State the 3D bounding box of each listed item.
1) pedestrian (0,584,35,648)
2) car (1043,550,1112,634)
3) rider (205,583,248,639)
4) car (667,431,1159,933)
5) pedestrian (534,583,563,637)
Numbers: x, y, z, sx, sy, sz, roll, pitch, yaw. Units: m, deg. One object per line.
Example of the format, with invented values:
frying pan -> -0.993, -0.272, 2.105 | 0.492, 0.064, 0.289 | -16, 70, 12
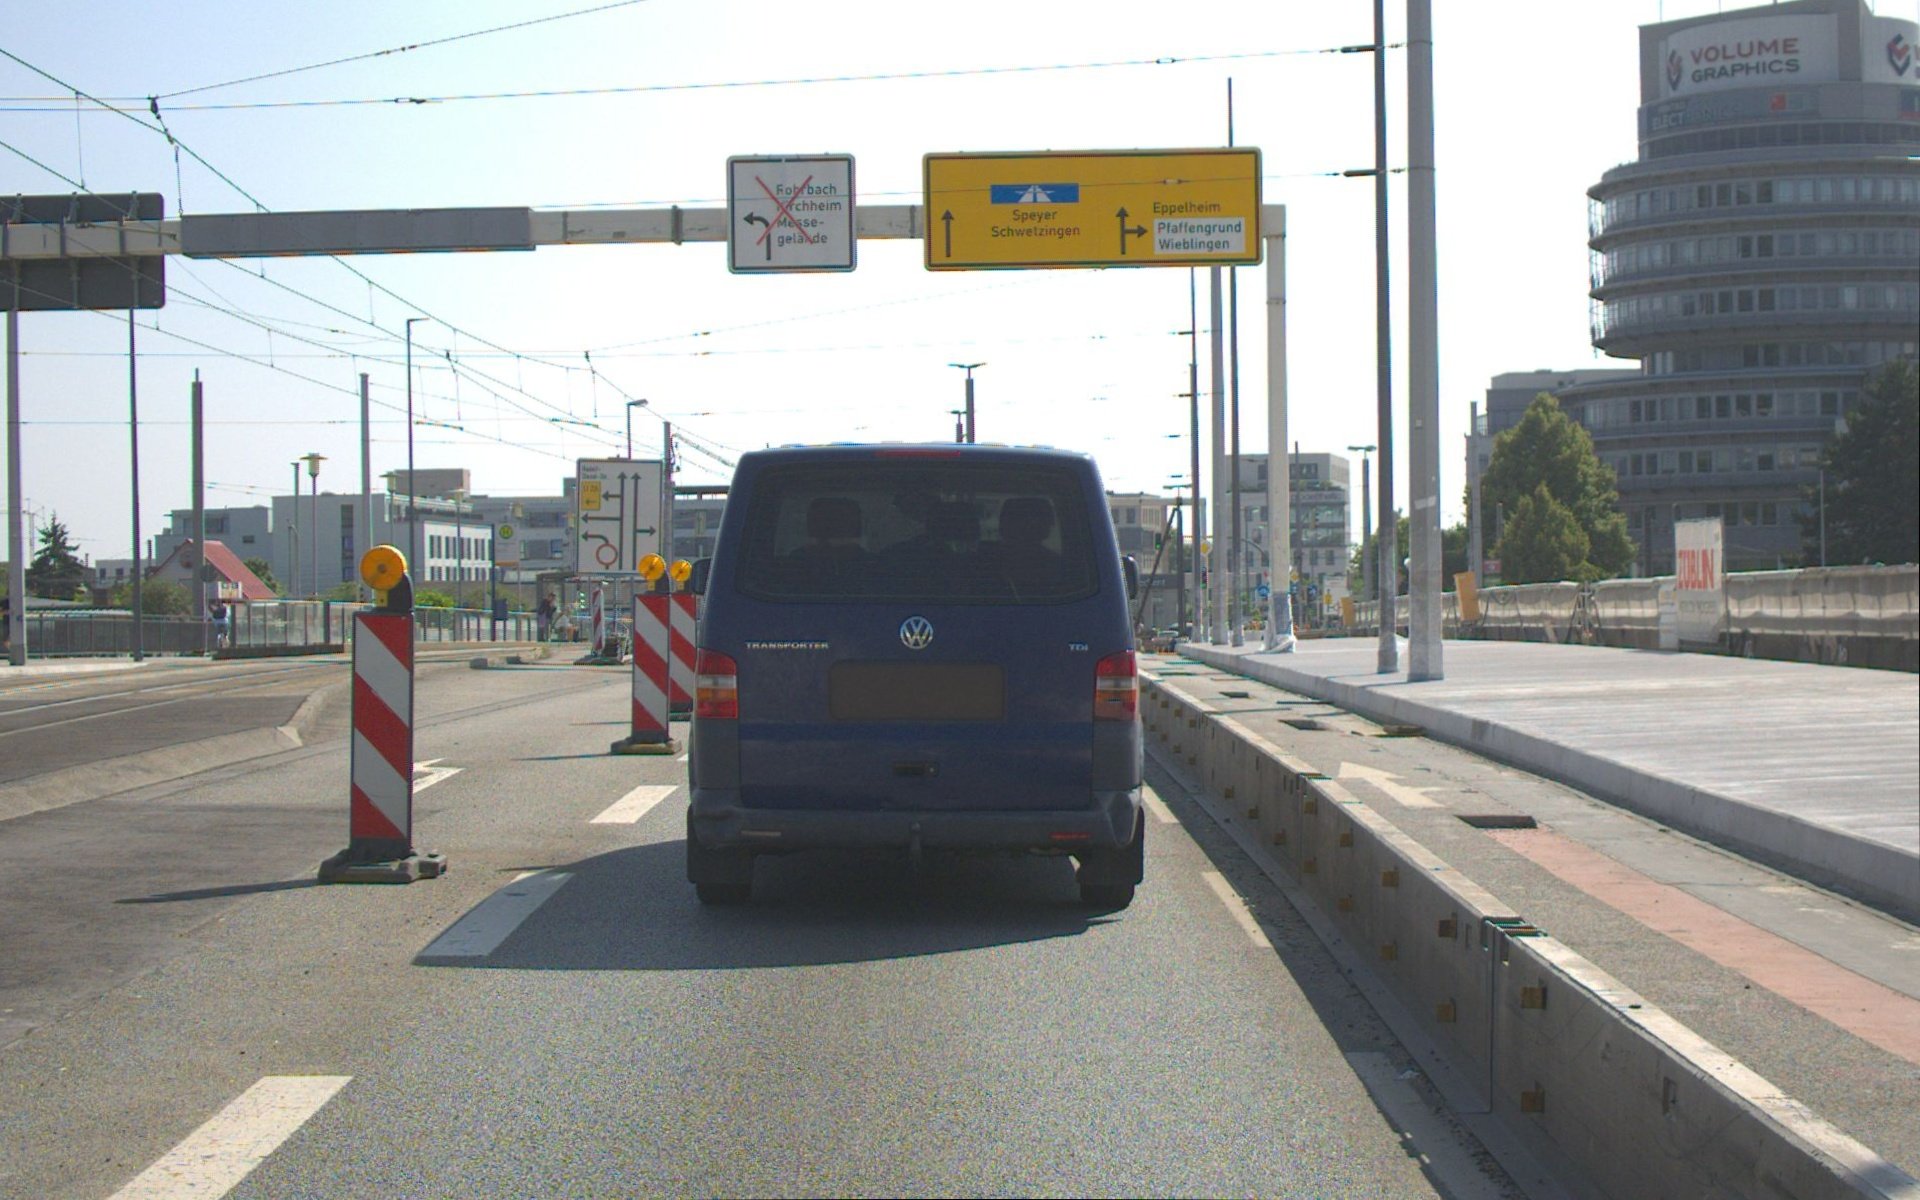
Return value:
pedestrian -> -24.789, 0.416, 90.248 | 0.753, 1.681, 0.731 | -1, 0, 3
car -> 4.136, -0.306, 122.125 | 2.339, 2.877, 5.970 | 1, 0, 1
rider -> -23.014, 0.338, 107.878 | 0.763, 1.727, 2.952 | 0, 0, -1
car -> -0.199, 0.309, 15.409 | 1.888, 1.927, 4.000 | 1, 0, 0
pedestrian -> -12.627, 0.310, 105.477 | 0.660, 1.649, 0.739 | -1, 0, 14
